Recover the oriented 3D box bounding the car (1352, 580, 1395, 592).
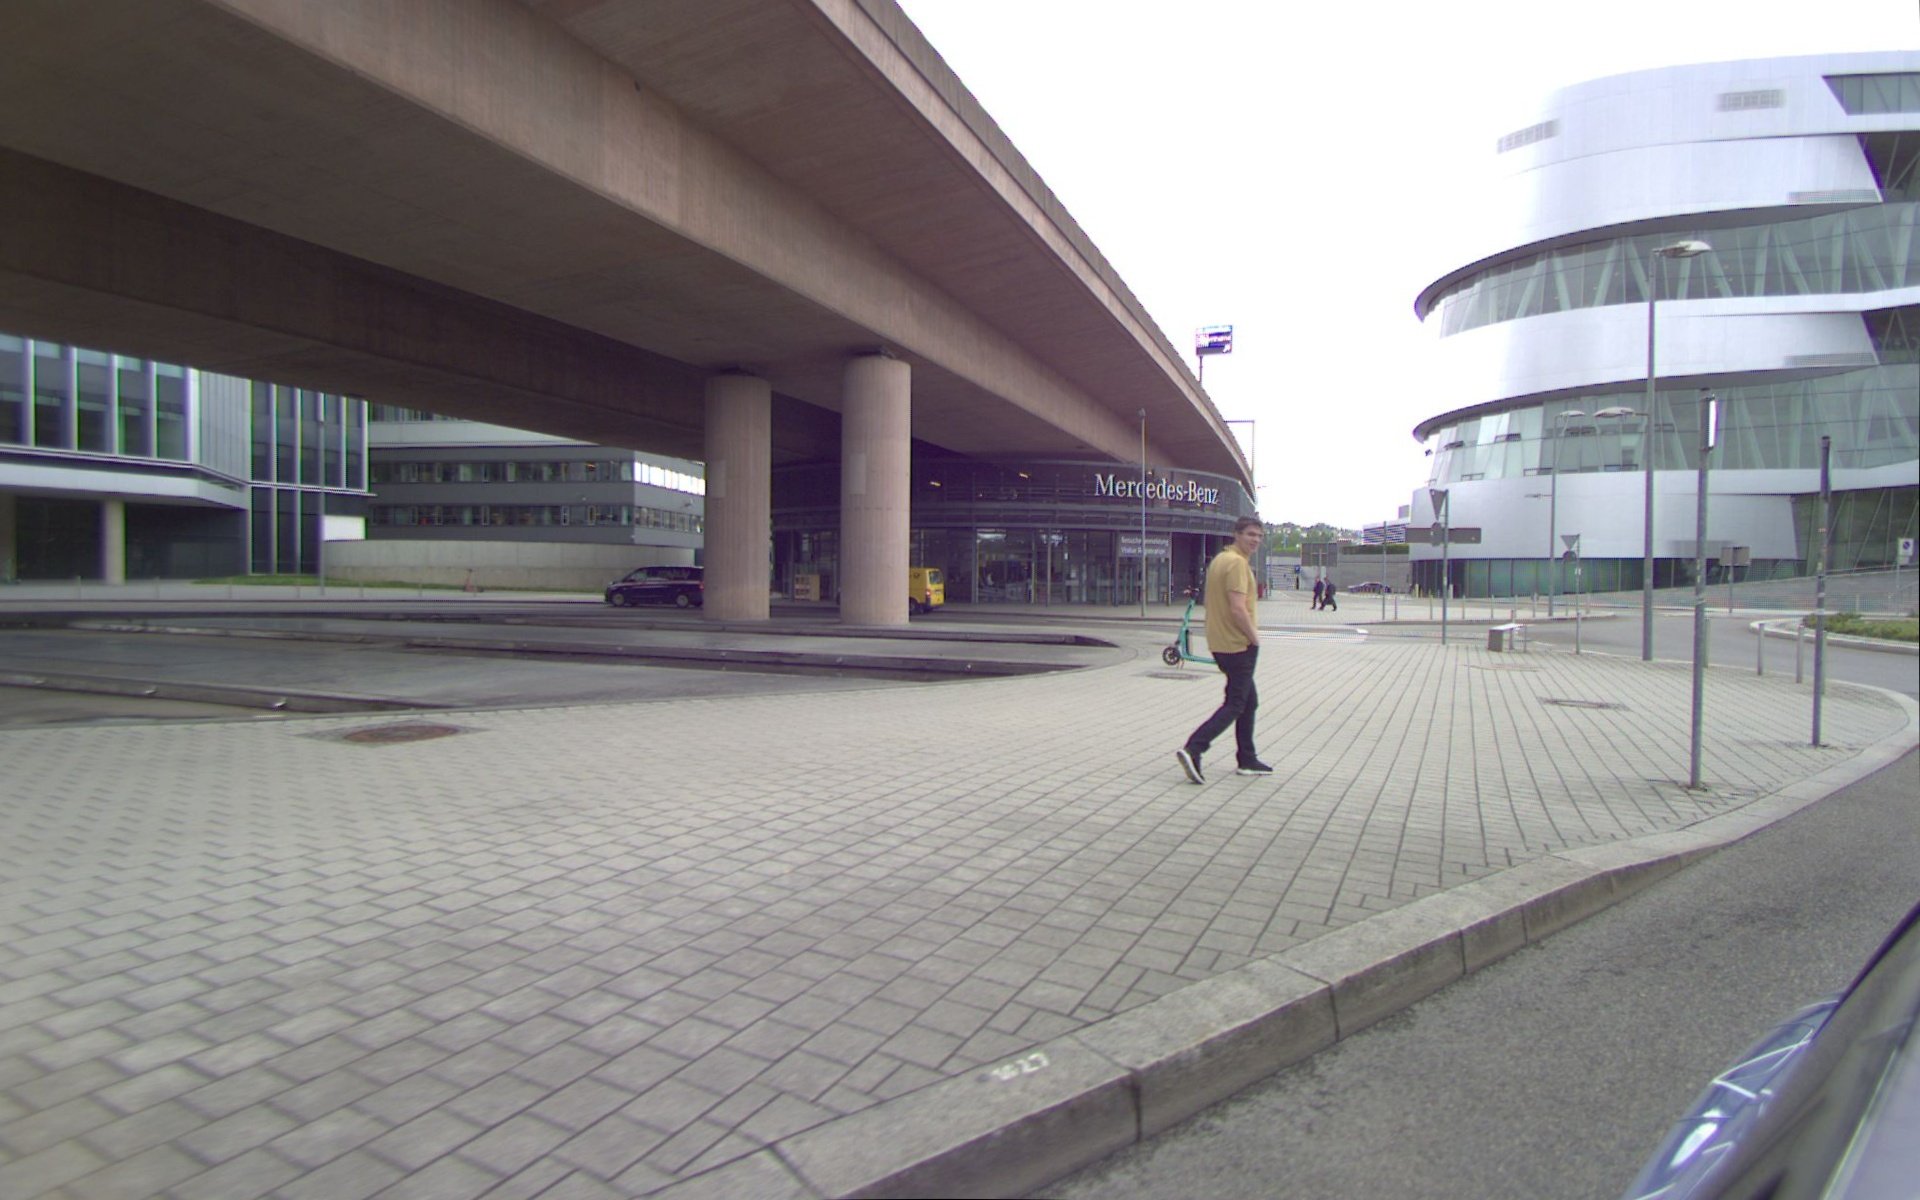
[{"bbox_3d":[51.951,-1.779,127.081,4.842,1.416,1.526,2,0,18],"label":"car"}]

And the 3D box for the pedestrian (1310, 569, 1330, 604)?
[{"bbox_3d":[18.862,-0.706,53.063,0.770,1.821,0.863,1,0,9],"label":"pedestrian"}]

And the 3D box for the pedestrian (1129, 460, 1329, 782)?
[{"bbox_3d":[1.826,0.134,6.941,1.017,2.039,0.786,1,0,-19],"label":"pedestrian"}]

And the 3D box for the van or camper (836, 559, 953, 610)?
[{"bbox_3d":[-2.824,-0.668,43.639,4.452,2.024,2.345,2,0,22],"label":"van or camper"}]

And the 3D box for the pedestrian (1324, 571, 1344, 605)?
[{"bbox_3d":[19.235,-0.636,52.038,0.759,1.726,0.785,1,0,7],"label":"pedestrian"}]

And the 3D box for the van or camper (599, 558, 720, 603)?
[{"bbox_3d":[-13.704,-0.888,46.318,4.817,1.917,2.150,1,0,7],"label":"van or camper"}]

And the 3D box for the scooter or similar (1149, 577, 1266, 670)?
[{"bbox_3d":[3.738,0.327,15.357,1.644,1.312,0.510,3,1,43],"label":"scooter or similar"}]

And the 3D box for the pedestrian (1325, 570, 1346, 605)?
[{"bbox_3d":[19.004,-0.620,51.195,0.759,1.726,0.864,1,0,6],"label":"pedestrian"}]
